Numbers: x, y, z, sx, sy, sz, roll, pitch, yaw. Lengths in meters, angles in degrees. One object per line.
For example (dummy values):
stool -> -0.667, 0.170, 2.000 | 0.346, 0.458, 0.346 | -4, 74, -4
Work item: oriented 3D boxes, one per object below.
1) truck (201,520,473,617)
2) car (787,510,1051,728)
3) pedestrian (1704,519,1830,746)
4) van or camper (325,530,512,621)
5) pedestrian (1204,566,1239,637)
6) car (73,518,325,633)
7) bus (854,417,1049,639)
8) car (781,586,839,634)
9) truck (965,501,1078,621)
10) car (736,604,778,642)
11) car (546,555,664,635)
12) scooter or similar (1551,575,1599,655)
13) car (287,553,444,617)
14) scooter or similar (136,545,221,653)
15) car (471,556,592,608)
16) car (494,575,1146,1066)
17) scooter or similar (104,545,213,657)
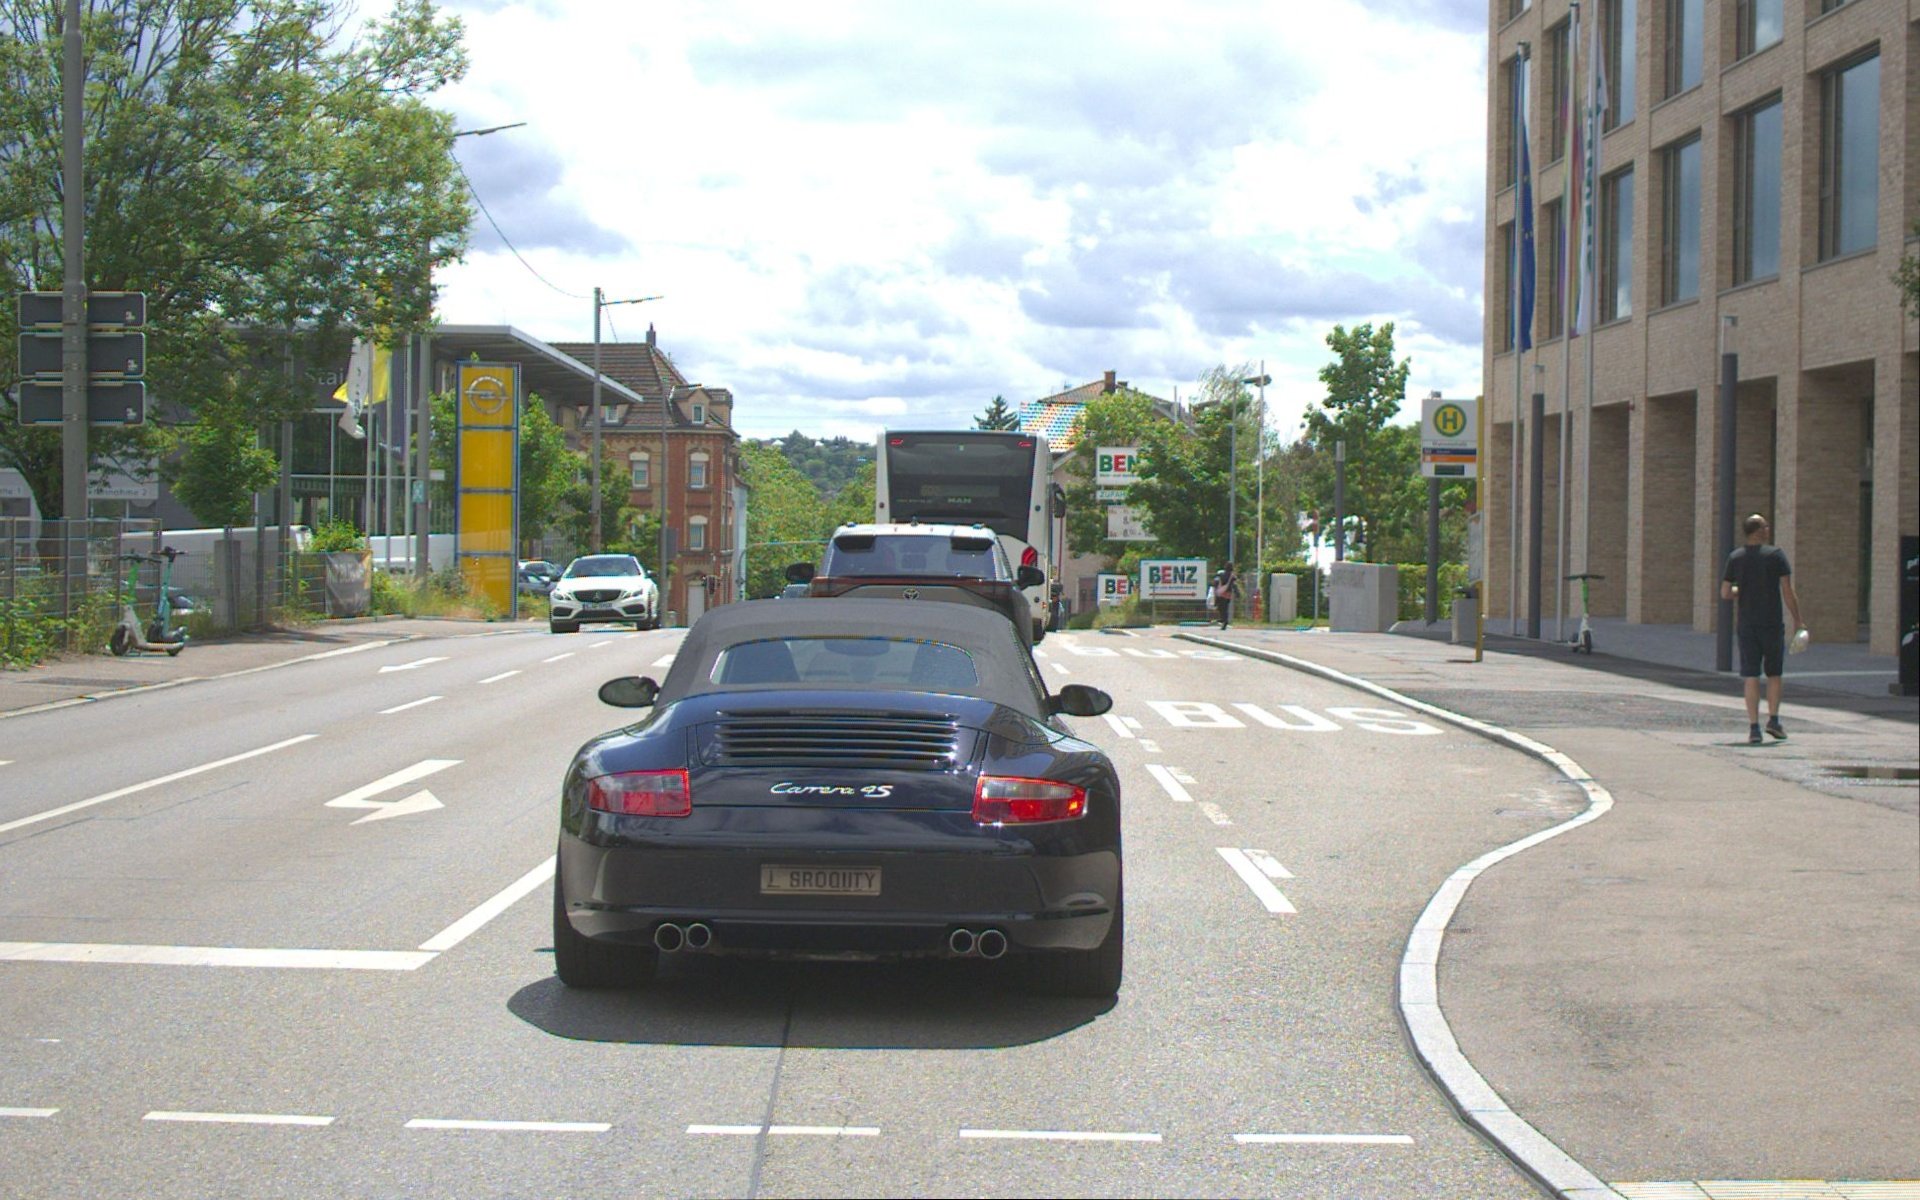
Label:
truck -> -14.185, -0.700, 78.543 | 5.860, 2.140, 2.477 | 0, -1, -3
car -> -0.406, 0.105, 27.564 | 1.930, 1.577, 4.208 | 1, 1, -3
pedestrian -> 6.266, 0.239, 26.730 | 0.683, 1.722, 0.962 | 2, 1, -1
van or camper -> -15.661, -0.724, 99.632 | 5.026, 2.522, 2.318 | 1, 1, -1
pedestrian -> 5.746, 0.029, 75.578 | 0.687, 1.531, 0.856 | 0, 0, -1
car -> -13.856, -0.464, 62.825 | 4.160, 2.007, 2.199 | 1, 1, -3
bus -> -0.041, -1.187, 56.443 | 2.802, 3.187, 12.196 | 1, 1, 1
car -> -4.849, 0.336, 111.138 | 1.829, 1.504, 4.277 | 0, -1, -2
truck -> 1.571, -1.062, 91.241 | 2.713, 3.044, 7.714 | 0, 1, -1
car -> -9.015, 1.001, 152.679 | 1.743, 1.590, 4.042 | -2, 0, -2
car -> -6.568, -0.117, 63.952 | 1.796, 1.372, 4.225 | 0, 1, 0
scooter or similar -> 8.982, 0.210, 50.231 | 0.427, 1.149, 1.404 | 0, 0, -1
car -> -16.762, -0.432, 97.034 | 3.987, 1.700, 2.000 | 1, 1, 5
scooter or similar -> -9.426, -0.022, 41.499 | 0.535, 1.262, 1.471 | 2, 1, 5
car -> -14.114, -0.576, 113.449 | 1.933, 1.567, 4.547 | 0, -1, 23
car -> -0.410, 0.647, 12.403 | 1.930, 1.372, 4.208 | 1, 1, 0
scooter or similar -> -9.320, 0.012, 40.001 | 0.535, 1.258, 1.470 | 3, 1, 17
